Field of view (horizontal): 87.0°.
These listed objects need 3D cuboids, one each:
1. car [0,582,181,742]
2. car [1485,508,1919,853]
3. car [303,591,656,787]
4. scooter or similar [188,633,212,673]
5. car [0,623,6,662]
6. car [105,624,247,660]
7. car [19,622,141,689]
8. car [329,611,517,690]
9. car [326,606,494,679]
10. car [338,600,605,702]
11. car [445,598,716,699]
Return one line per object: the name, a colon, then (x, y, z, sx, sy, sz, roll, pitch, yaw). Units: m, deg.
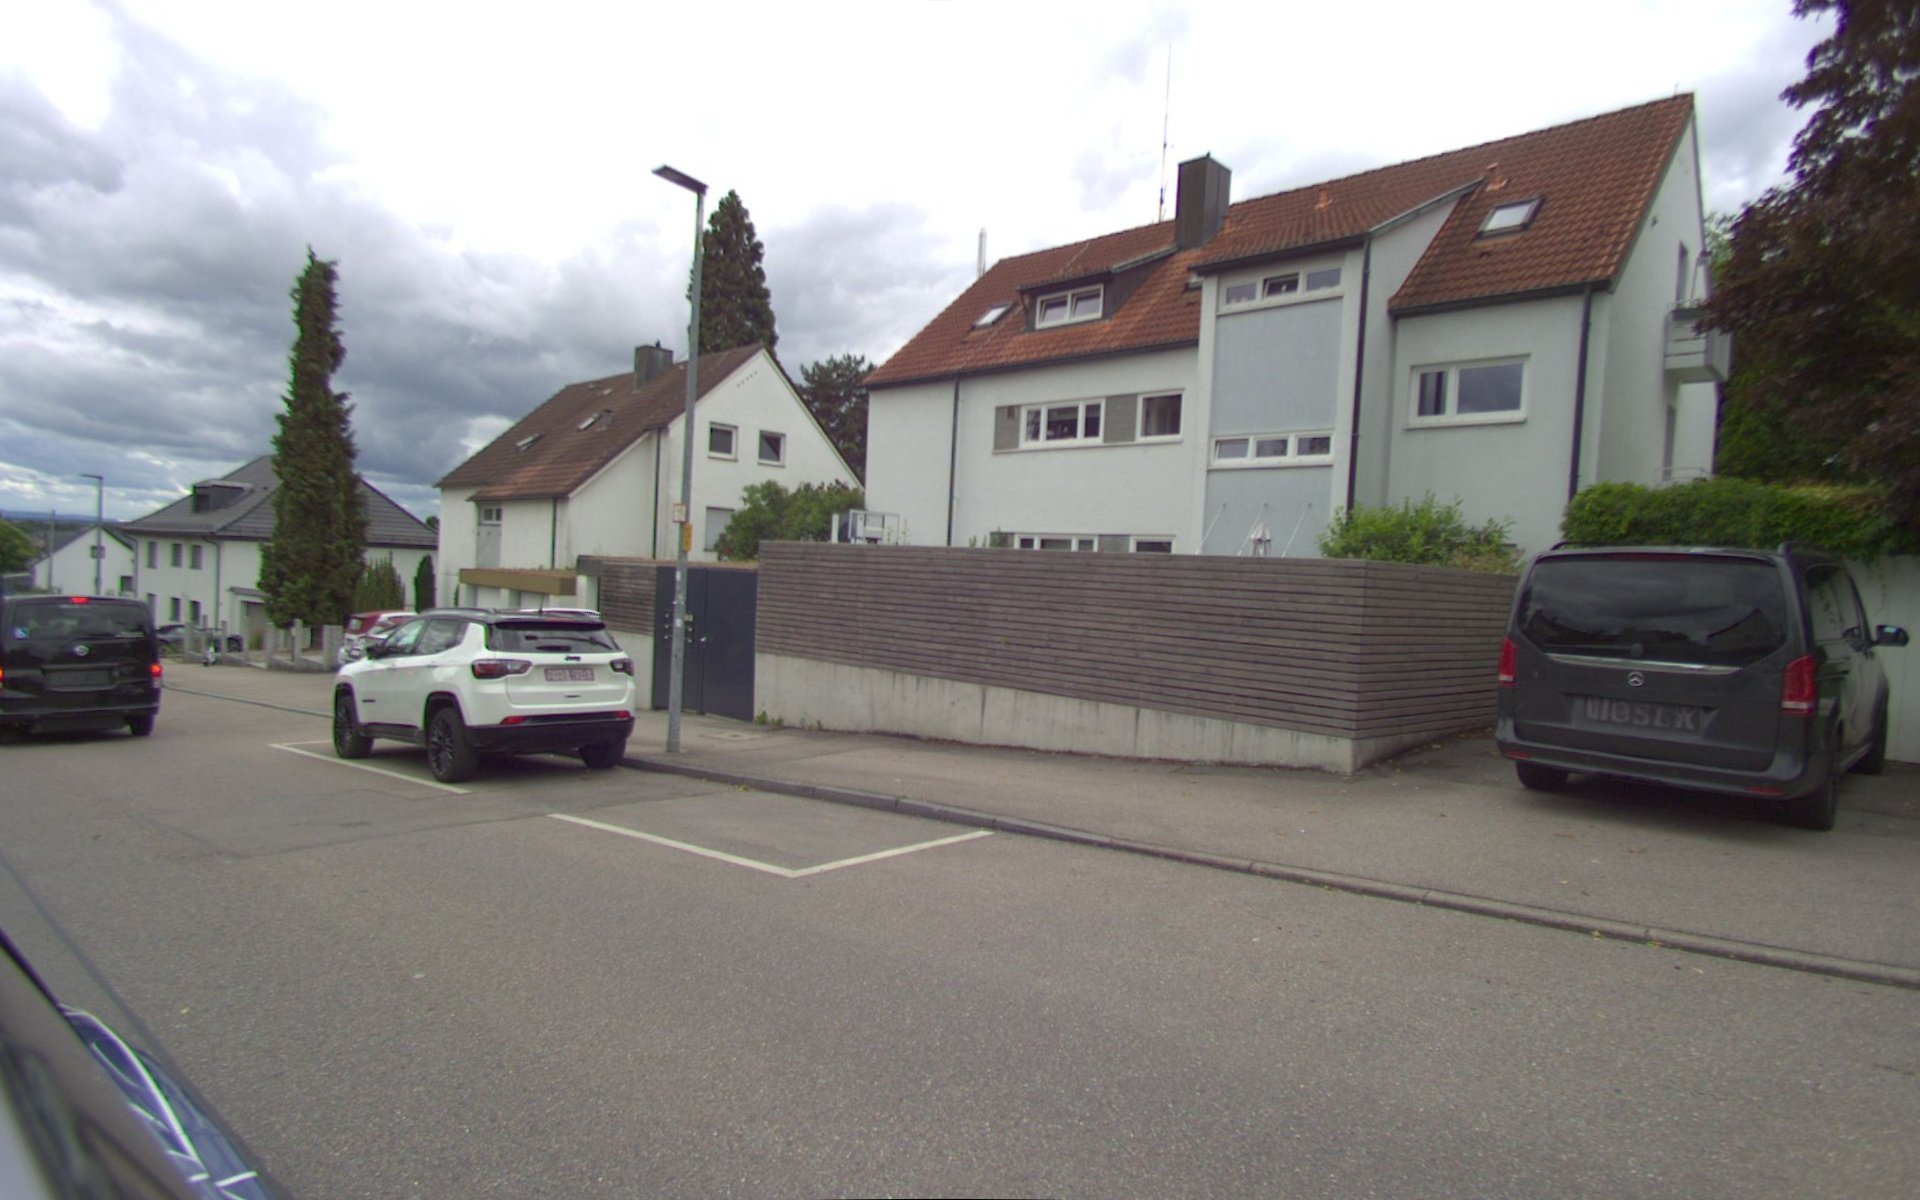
car: (-12.377, 0.780, 13.802, 4.398, 1.865, 1.866, -1, -2, 40)
car: (5.936, 0.472, 7.849, 4.022, 1.964, 2.003, 1, 0, -41)
car: (-5.278, 0.836, 10.840, 4.406, 1.679, 1.818, -1, -3, 42)
scooter or similar: (-23.276, 1.623, 31.015, 0.468, 1.157, 1.458, -2, 0, -33)
car: (-39.989, 1.722, 40.820, 3.505, 1.548, 1.858, -1, -2, 41)
car: (-32.054, 1.696, 41.490, 1.900, 1.378, 4.249, -1, -1, 35)
car: (-22.236, 1.350, 25.543, 3.853, 1.575, 1.742, -1, -2, 41)
car: (-12.191, 1.077, 23.105, 1.692, 1.523, 3.393, 0, 2, 42)
car: (-13.909, 1.014, 25.704, 1.656, 1.590, 3.393, 0, 2, 42)
car: (-9.588, 0.912, 20.163, 1.909, 1.641, 4.368, -1, 1, 39)
car: (-6.773, 0.813, 18.379, 1.854, 1.624, 4.248, -1, -2, 45)
